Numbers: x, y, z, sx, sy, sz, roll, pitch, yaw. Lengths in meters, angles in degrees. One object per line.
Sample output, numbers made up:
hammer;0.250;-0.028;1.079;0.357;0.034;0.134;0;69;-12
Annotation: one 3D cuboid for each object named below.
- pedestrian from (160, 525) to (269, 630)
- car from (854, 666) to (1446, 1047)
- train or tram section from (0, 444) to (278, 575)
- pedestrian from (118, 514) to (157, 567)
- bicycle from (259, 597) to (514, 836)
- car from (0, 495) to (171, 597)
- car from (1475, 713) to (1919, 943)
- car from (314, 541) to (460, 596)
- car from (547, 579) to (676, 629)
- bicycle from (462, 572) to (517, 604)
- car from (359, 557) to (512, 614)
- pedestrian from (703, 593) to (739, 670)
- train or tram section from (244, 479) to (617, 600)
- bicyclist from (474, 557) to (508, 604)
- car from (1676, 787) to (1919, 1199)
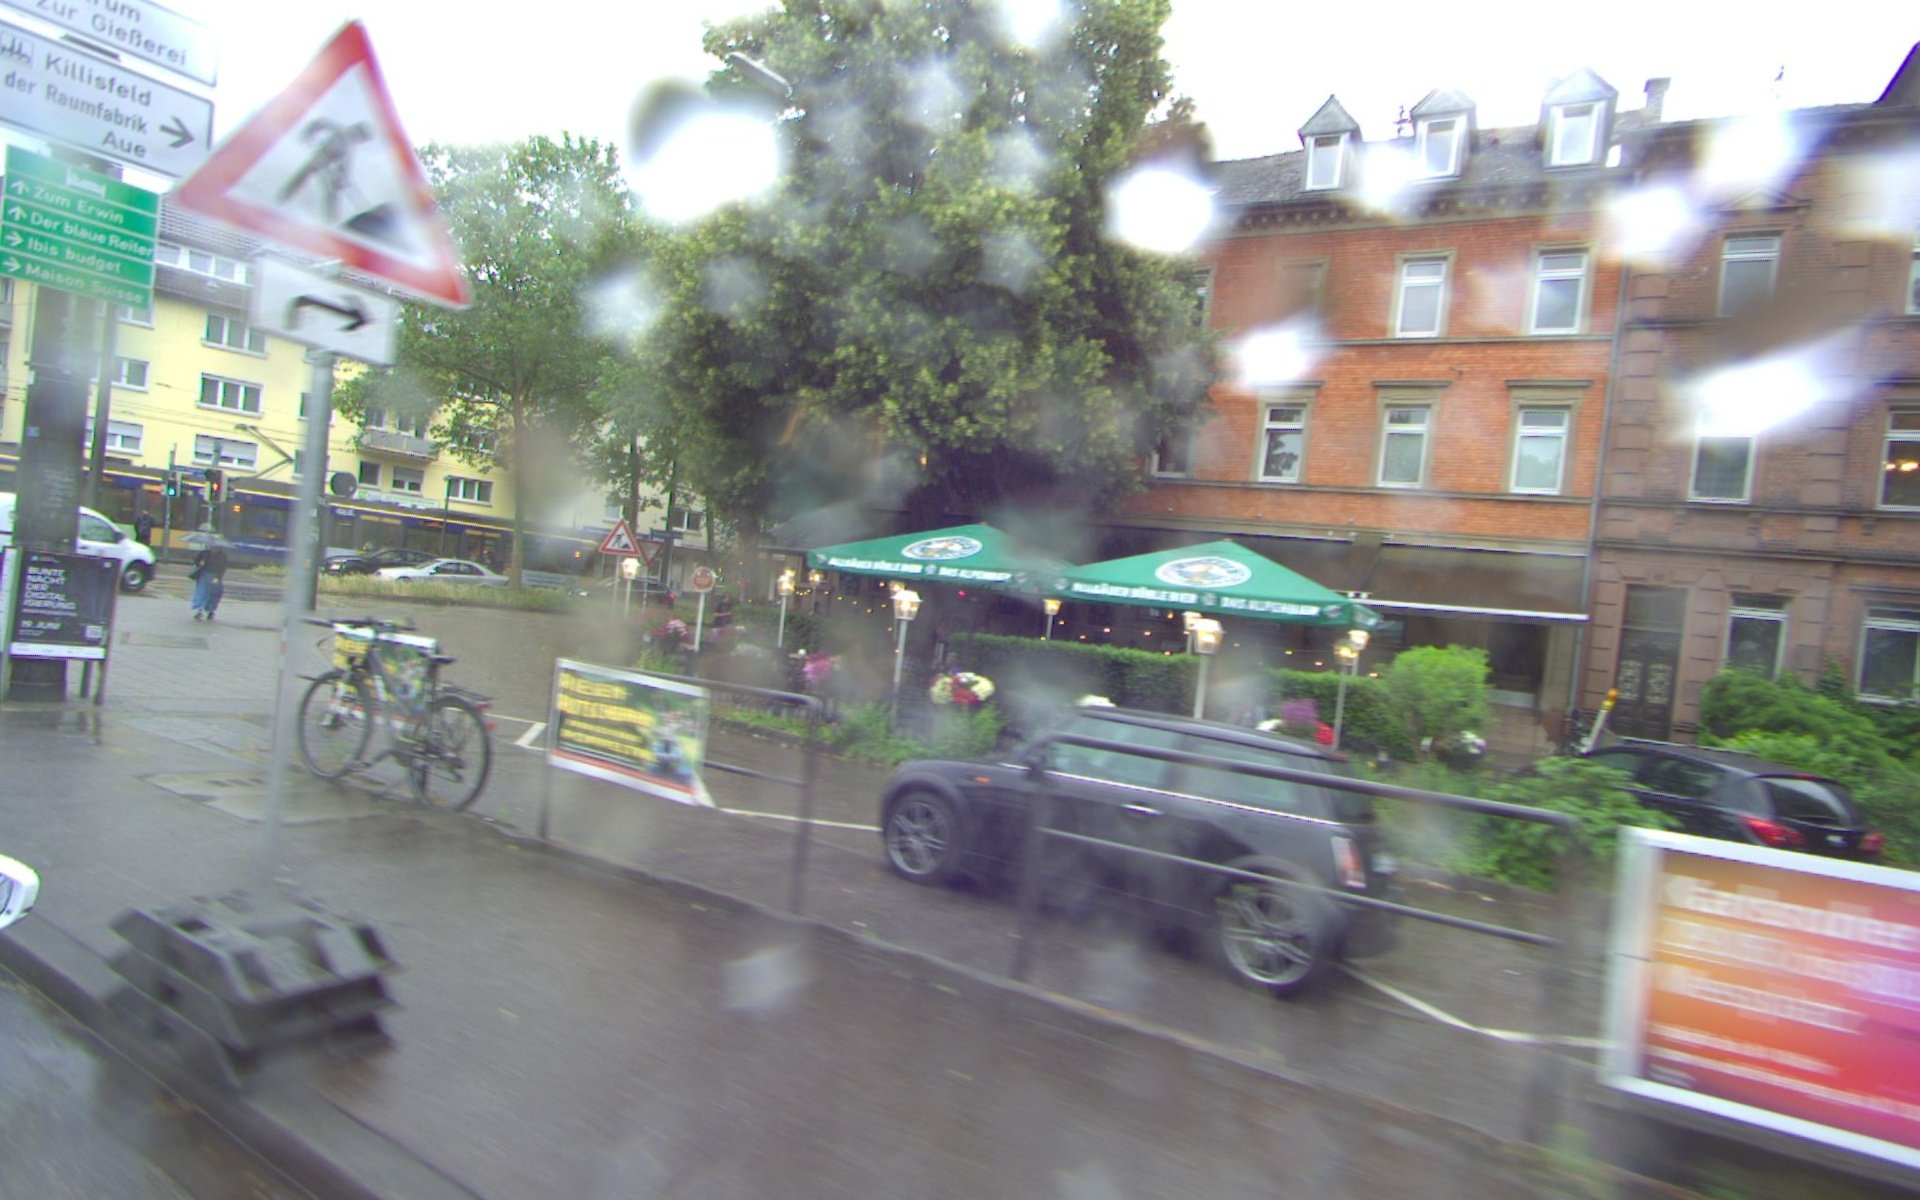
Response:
pedestrian;-13.222;-0.383;17.891;1.088;1.687;0.995;7;0;-13
car;1.220;1.468;6.852;3.459;1.517;1.649;7;-1;33
train or tram section;-31.529;-3.282;33.613;3.062;3.603;14.555;7;0;27
pedestrian;-28.320;-2.034;34.650;0.806;1.698;1.008;6;0;-32
bicycle;-3.638;0.683;6.327;1.762;1.181;0.423;7;-2;30
car;-19.013;-1.151;20.770;1.874;1.818;4.115;7;-1;3
car;7.932;2.344;11.287;1.828;1.526;3.998;7;-1;-5
car;-21.329;-1.136;37.580;1.853;1.520;4.265;7;0;40
car;-14.277;0.188;41.412;1.838;1.504;4.612;7;0;45
bicycle;-18.977;-0.482;40.619;0.710;1.044;1.808;7;-1;41
car;-18.738;-0.487;36.049;1.718;1.507;4.474;7;0;44
pedestrian;-5.359;0.709;22.547;0.382;1.666;0.549;7;3;32
train or tram section;-23.142;-2.480;45.477;3.073;3.603;14.597;7;1;42
bicyclist;-18.932;-0.776;40.623;0.704;1.736;0.886;7;0;42
car;5.577;1.956;4.028;4.146;1.481;1.749;7;-1;31
